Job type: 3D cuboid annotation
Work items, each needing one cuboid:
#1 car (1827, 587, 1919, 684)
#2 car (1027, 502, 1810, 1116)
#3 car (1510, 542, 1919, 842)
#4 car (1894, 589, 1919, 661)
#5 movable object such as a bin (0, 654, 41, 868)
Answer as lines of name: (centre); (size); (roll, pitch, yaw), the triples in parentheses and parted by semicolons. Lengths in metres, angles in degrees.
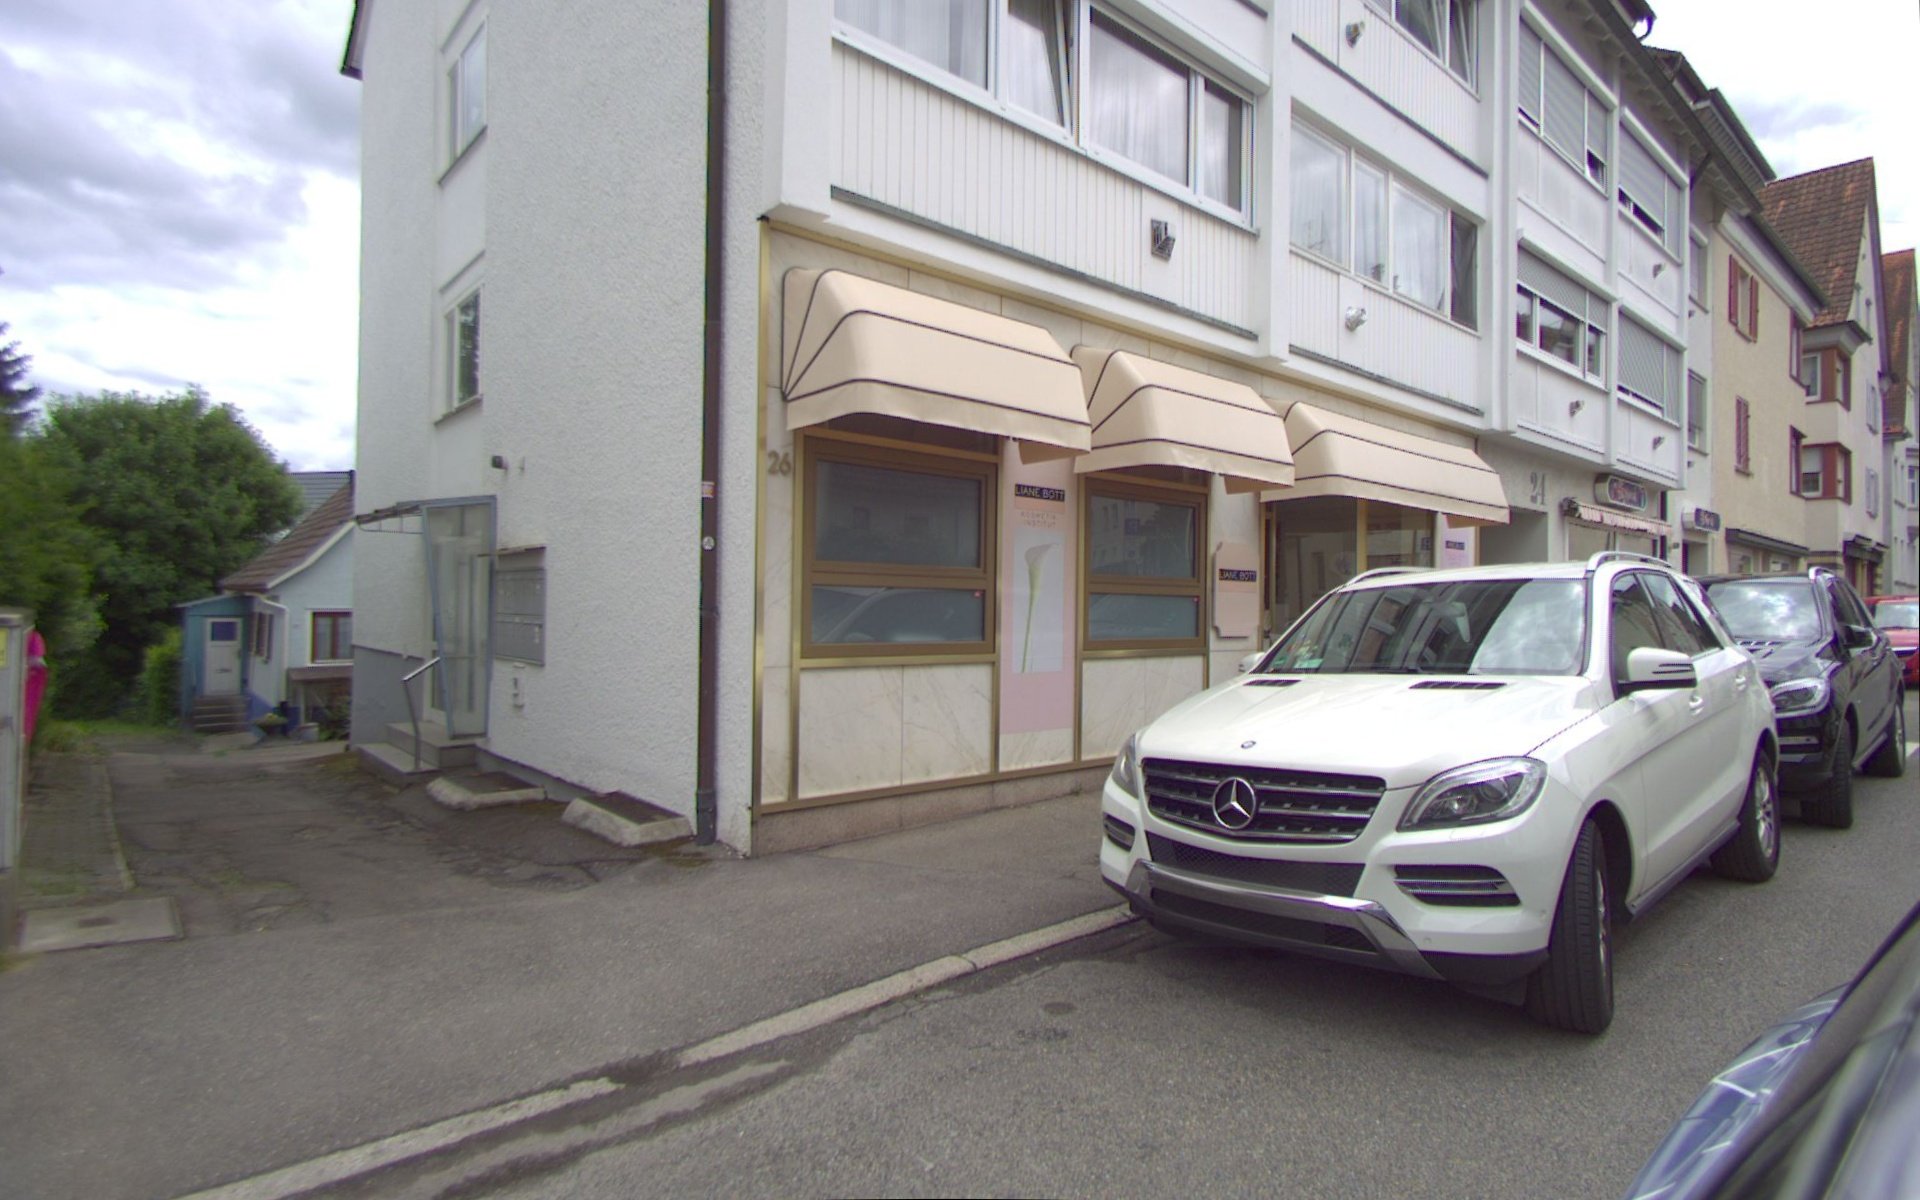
car: (16.704, 0.554, 17.698); (3.919, 1.548, 1.672); (-1, -2, -40)
car: (2.567, 0.563, 5.036); (4.416, 1.727, 1.898); (-1, 0, -41)
car: (6.333, 0.532, 8.245); (4.269, 1.812, 1.898); (-1, 0, -41)
car: (22.528, 0.502, 22.890); (3.920, 1.548, 1.604); (-1, -2, -41)
movable object such as a bin: (-5.487, 0.840, 5.352); (0.514, 1.128, 0.804); (-5, -9, 44)
